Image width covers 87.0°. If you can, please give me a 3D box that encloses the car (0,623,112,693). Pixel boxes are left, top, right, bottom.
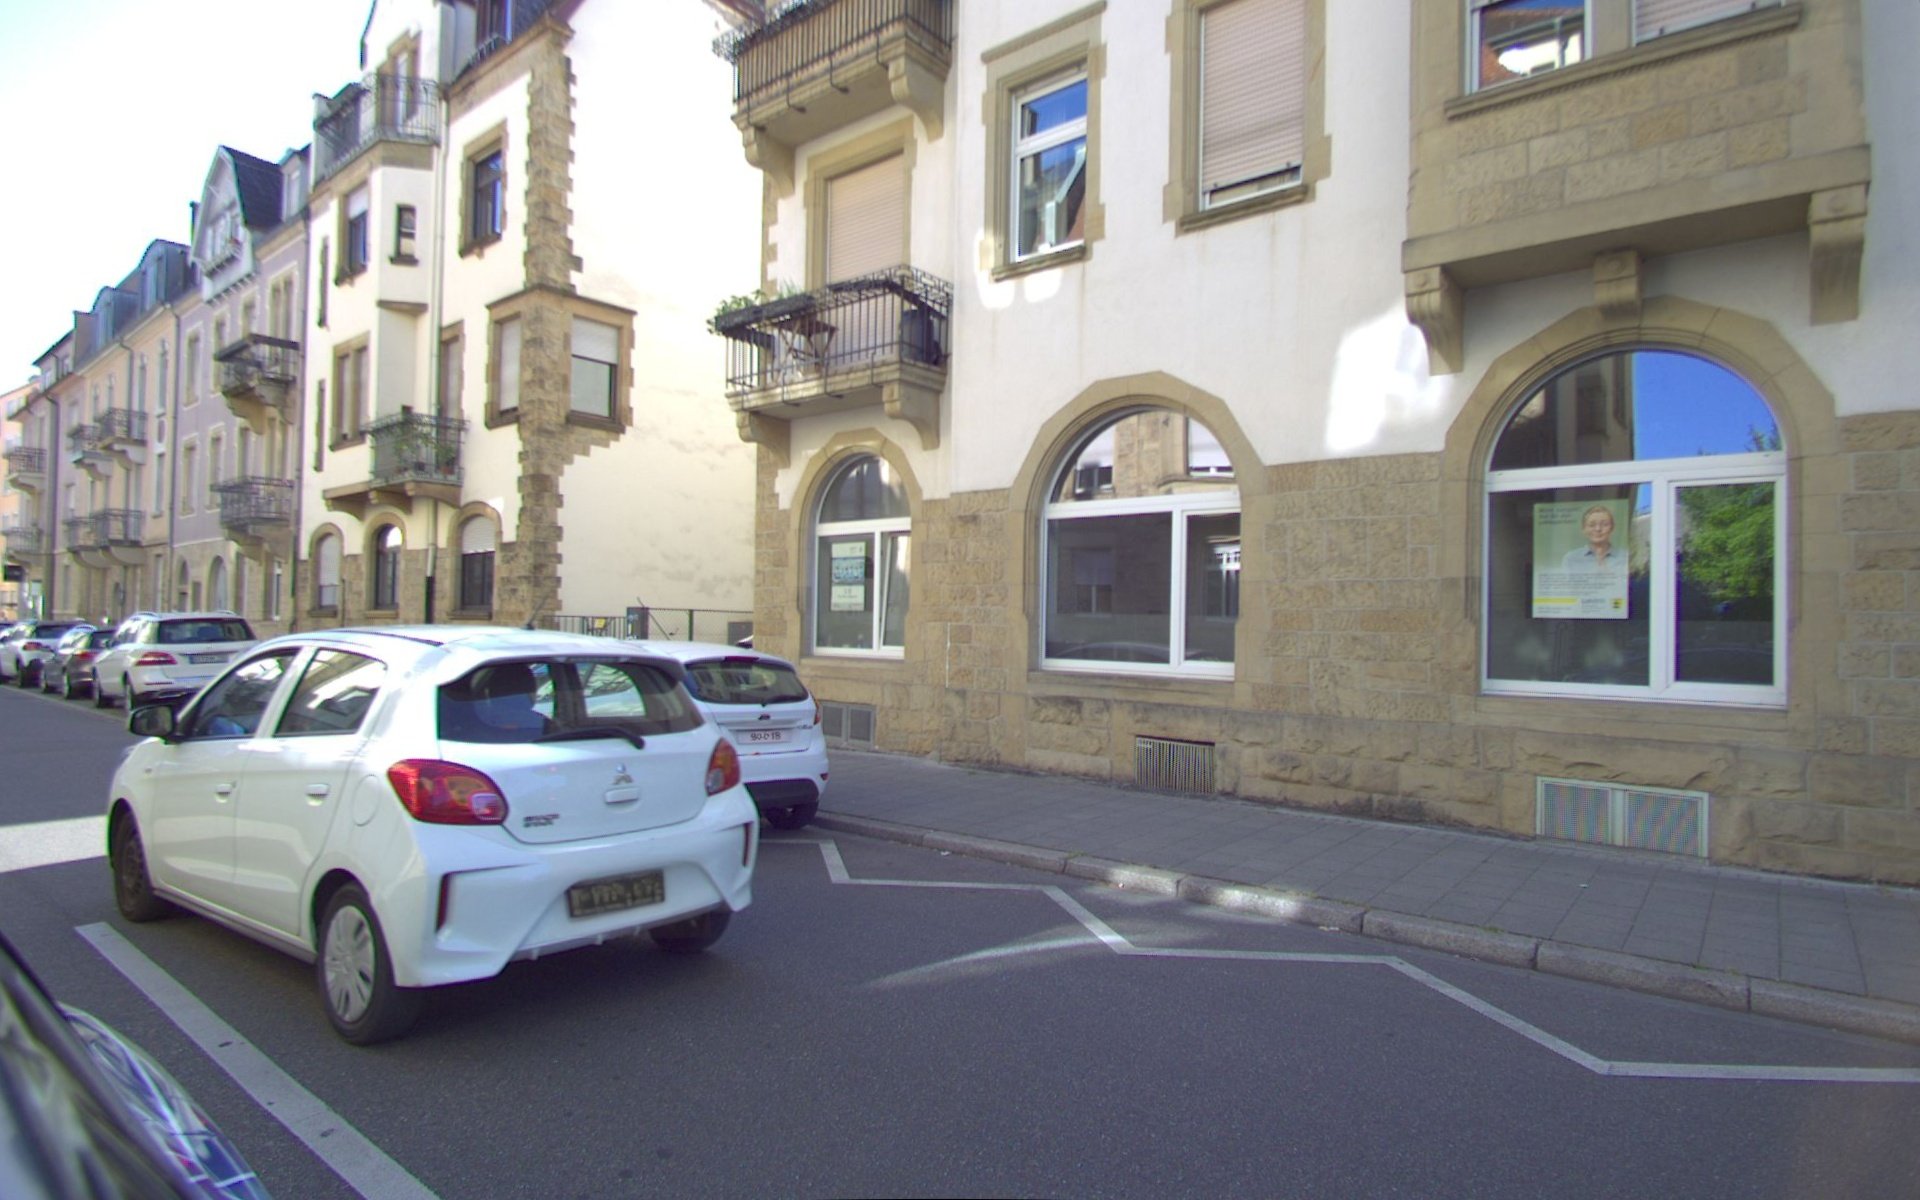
[{"bbox_3d":[-22.957,1.387,25.437,4.319,1.520,1.866,-1,0,41],"label":"car"}]

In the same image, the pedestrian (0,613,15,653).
[{"bbox_3d":[-49.310,1.700,51.946,0.952,2.029,1.053,-1,0,38],"label":"pedestrian"}]

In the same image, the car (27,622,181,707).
[{"bbox_3d":[-18.453,1.294,21.756,4.319,1.519,1.866,-1,2,41],"label":"car"}]

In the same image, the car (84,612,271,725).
[{"bbox_3d":[-13.990,1.104,18.014,4.209,1.740,1.866,-1,0,41],"label":"car"}]

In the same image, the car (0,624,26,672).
[{"bbox_3d":[-33.178,1.611,34.250,4.319,1.520,1.866,-1,0,41],"label":"car"}]

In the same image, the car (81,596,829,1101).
[{"bbox_3d":[-2.493,0.814,4.763,3.527,1.495,1.683,-1,-4,36],"label":"car"}]

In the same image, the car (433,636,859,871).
[{"bbox_3d":[-2.664,1.051,8.200,3.642,1.469,1.634,-2,-5,42],"label":"car"}]

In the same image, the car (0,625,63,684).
[{"bbox_3d":[-27.165,1.521,28.877,4.317,1.511,1.833,-1,0,41],"label":"car"}]
